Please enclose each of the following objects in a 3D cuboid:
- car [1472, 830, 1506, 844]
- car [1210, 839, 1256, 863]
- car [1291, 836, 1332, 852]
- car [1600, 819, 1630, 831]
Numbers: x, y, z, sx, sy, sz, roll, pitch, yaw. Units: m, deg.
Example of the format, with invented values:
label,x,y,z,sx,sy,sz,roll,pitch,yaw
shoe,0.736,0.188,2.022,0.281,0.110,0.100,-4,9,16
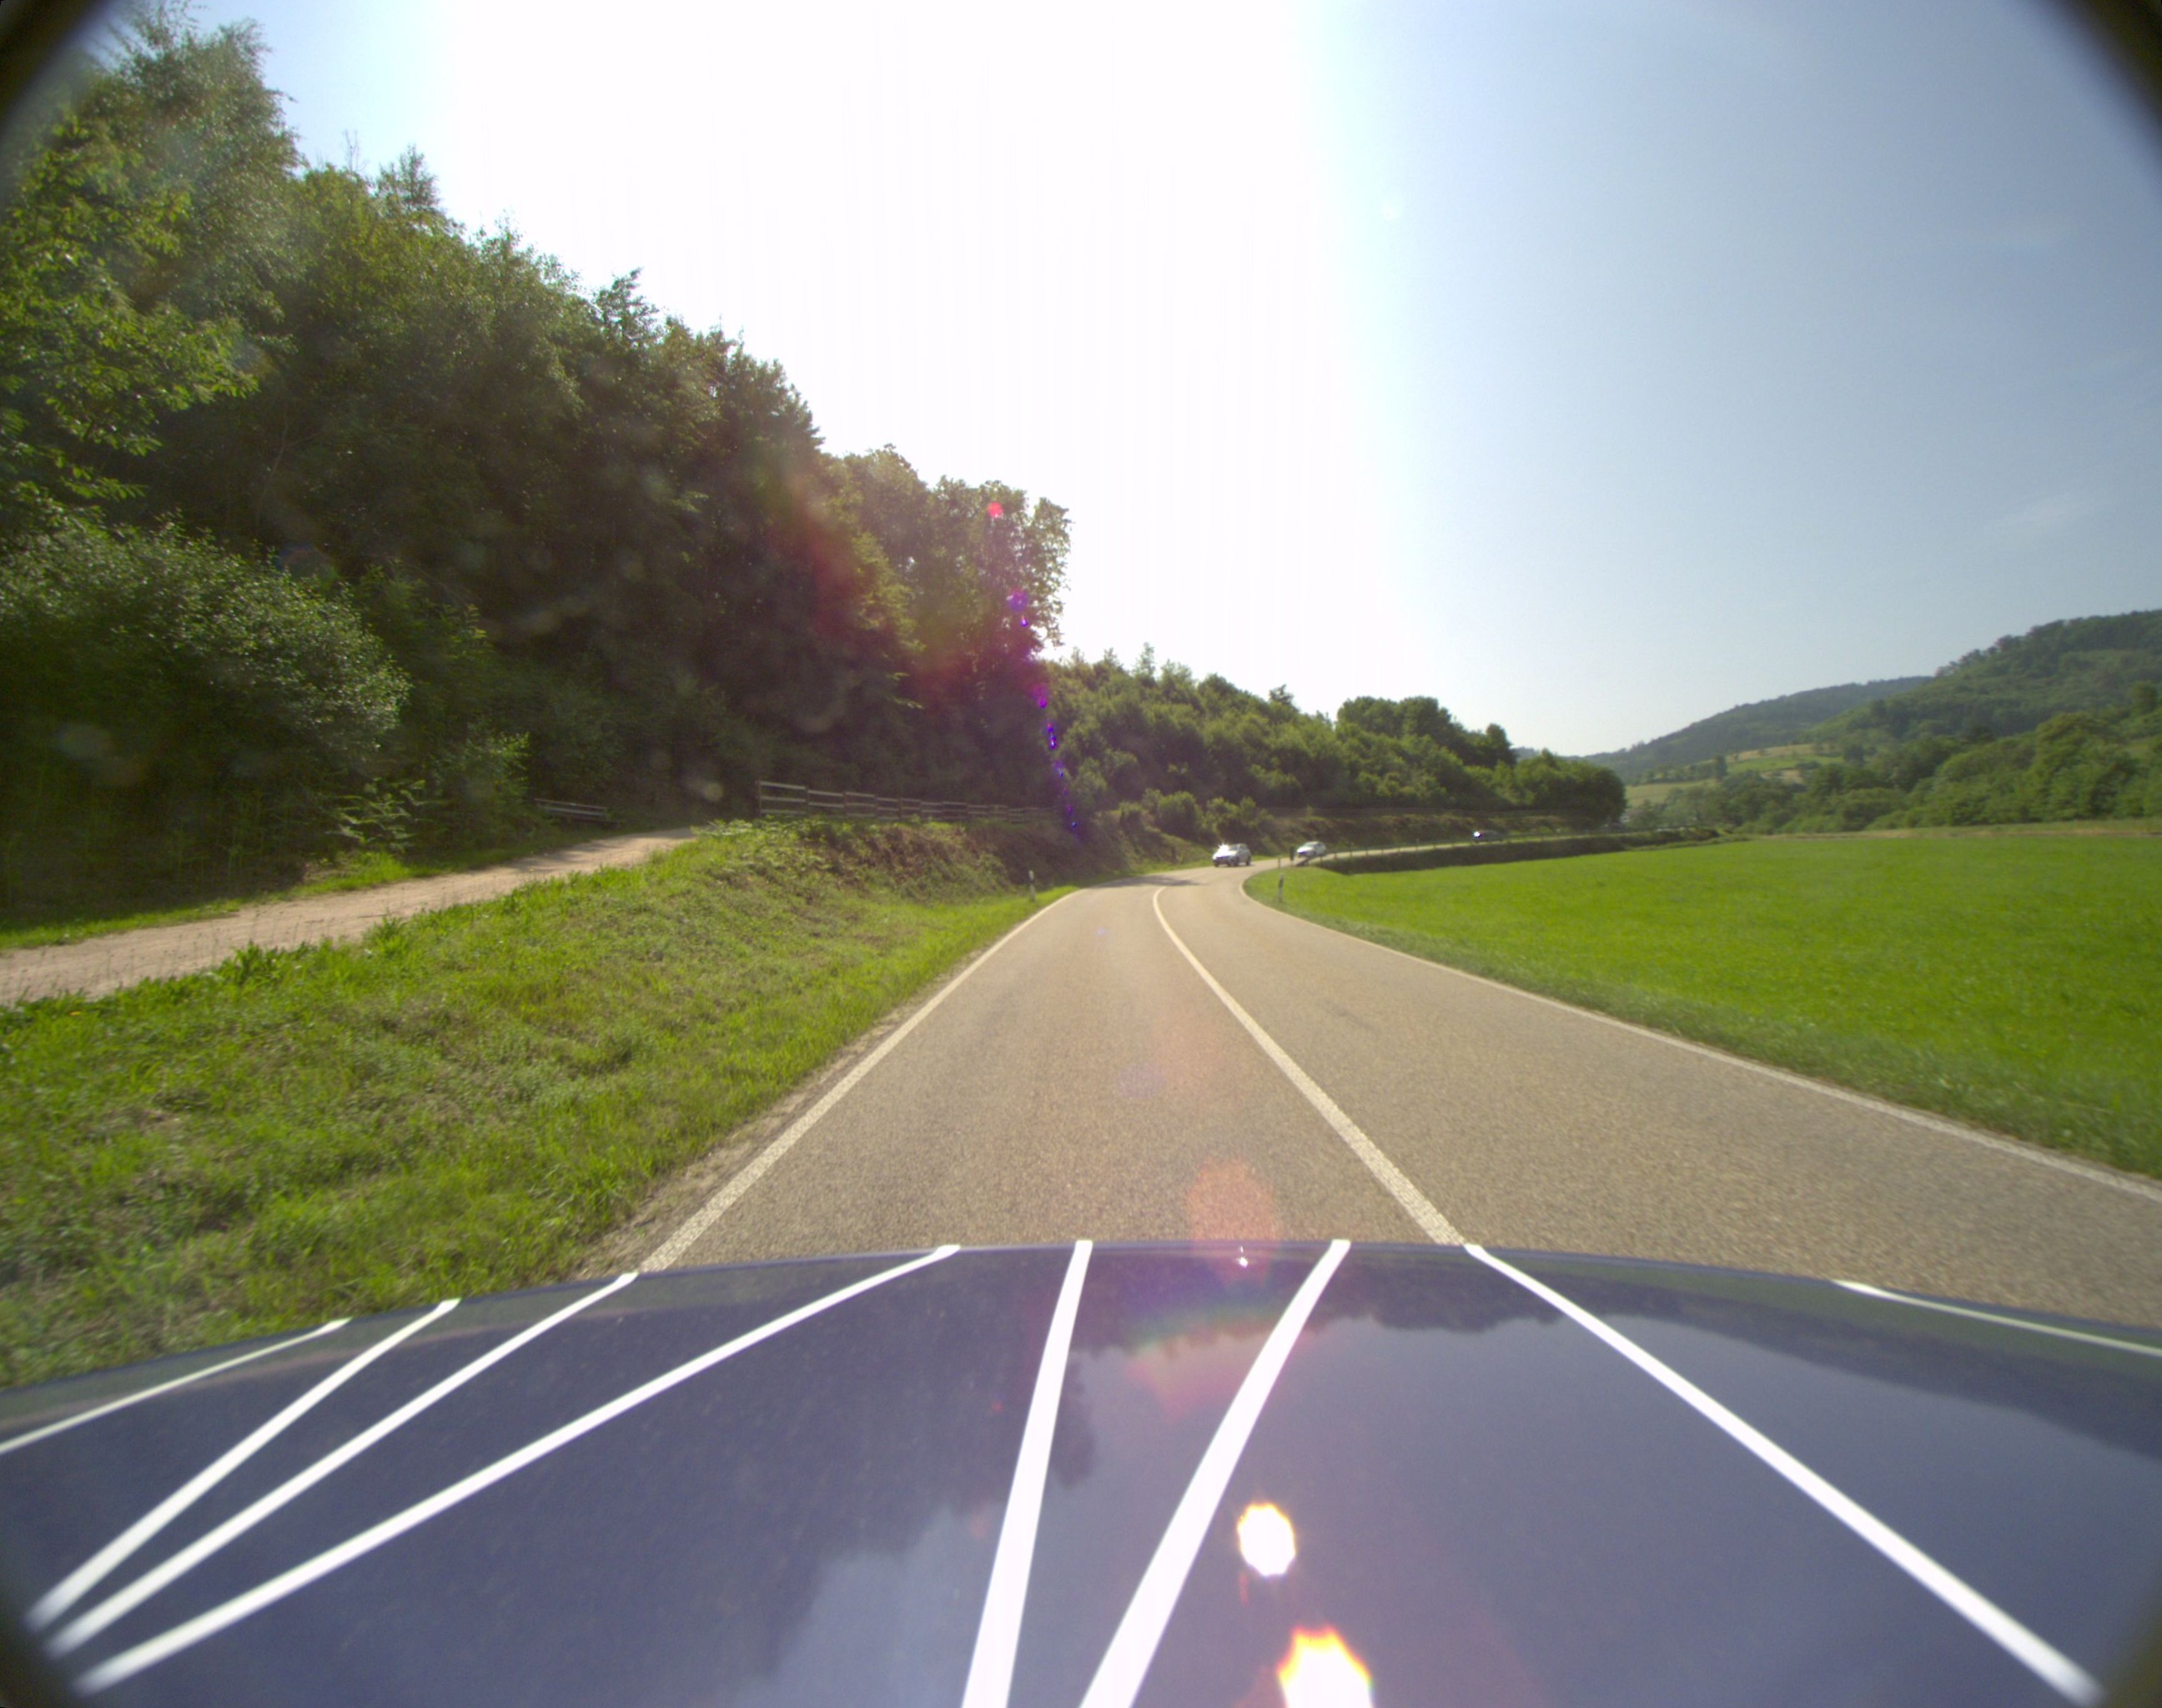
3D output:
label,x,y,z,sx,sy,sz,roll,pitch,yaw
car,51.369,-2.155,95.621,4.603,1.577,1.877,-2,-1,-34
car,12.409,-0.273,61.845,2.114,1.803,4.464,-3,-1,33
car,23.181,-1.006,76.225,2.142,1.482,4.681,-2,-1,41
car,78.601,-4.263,111.764,4.904,1.730,1.951,-2,0,-33
